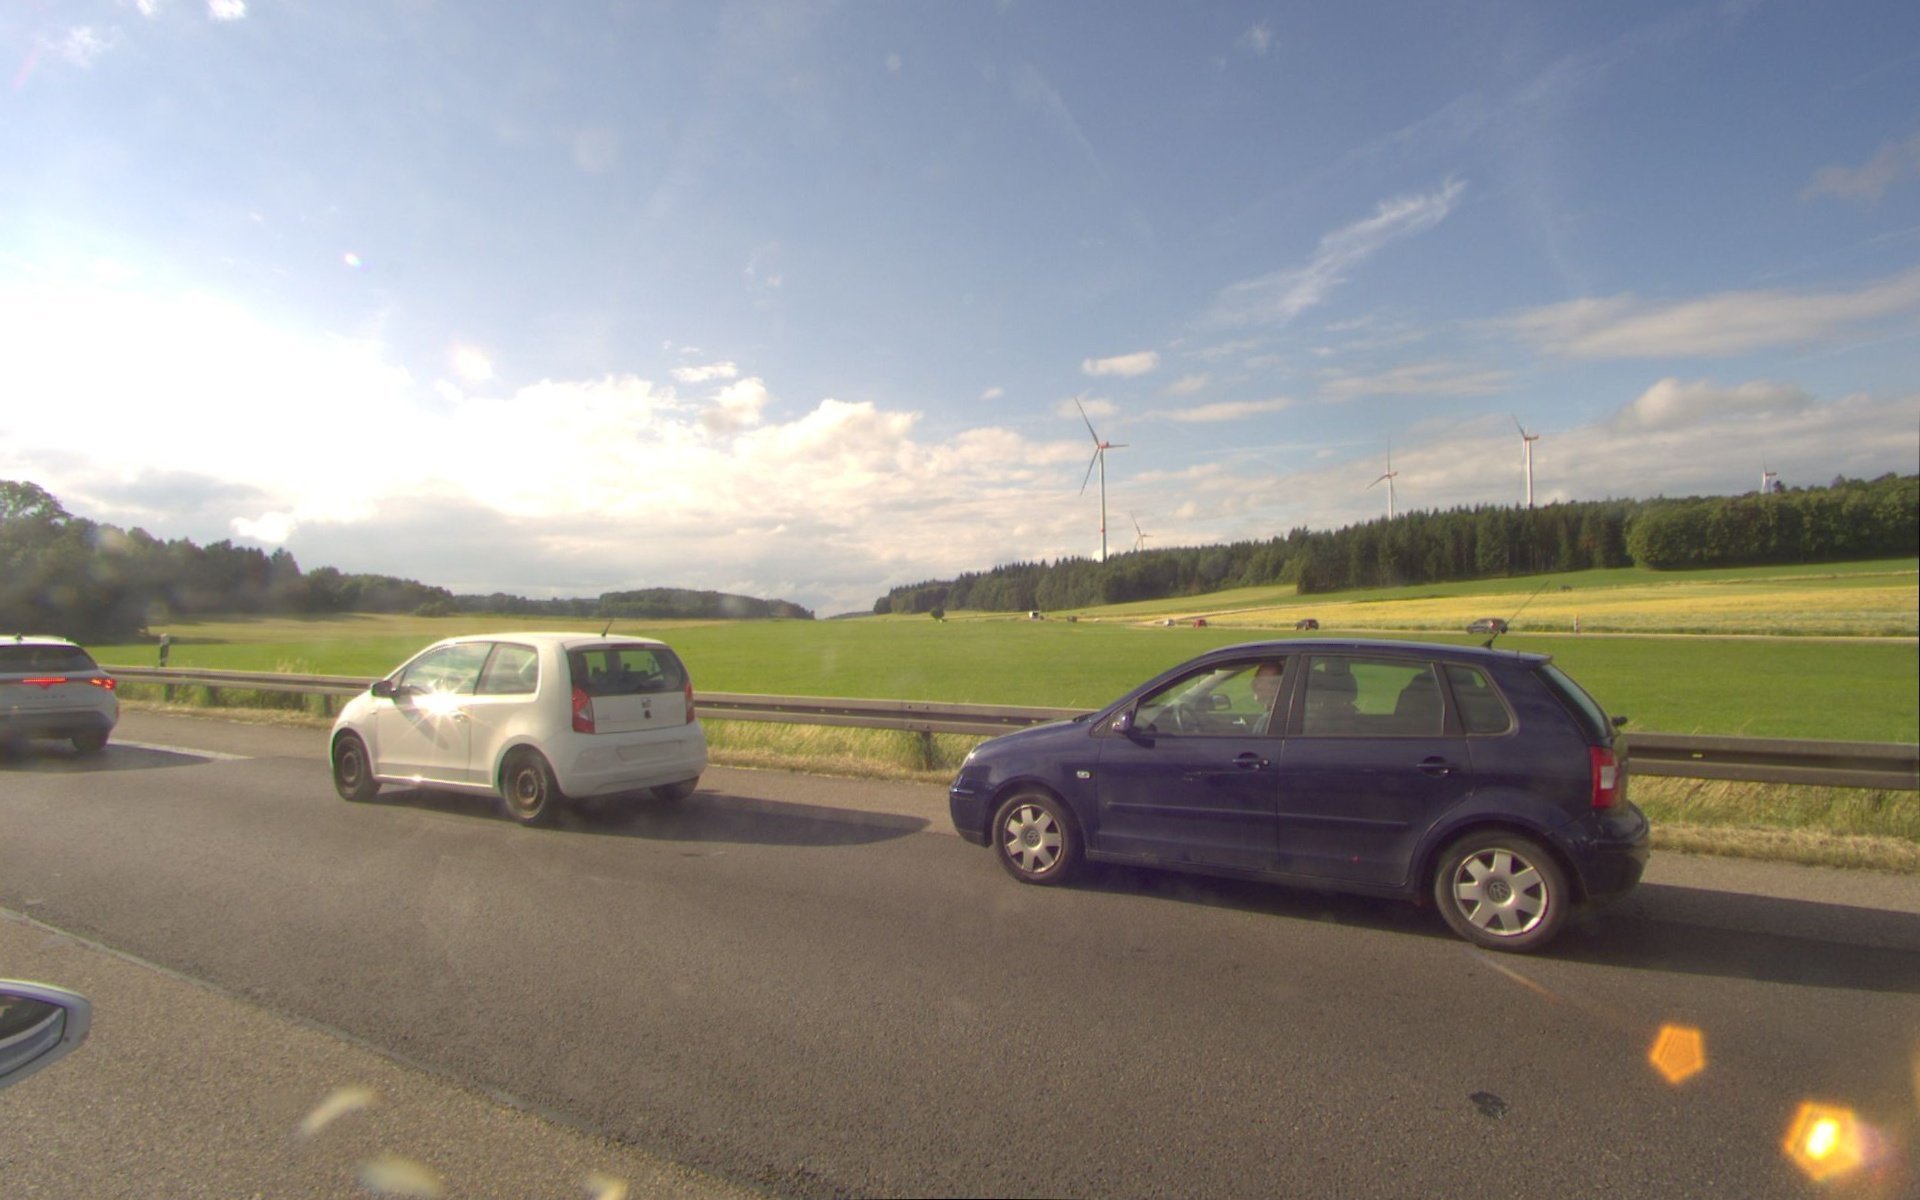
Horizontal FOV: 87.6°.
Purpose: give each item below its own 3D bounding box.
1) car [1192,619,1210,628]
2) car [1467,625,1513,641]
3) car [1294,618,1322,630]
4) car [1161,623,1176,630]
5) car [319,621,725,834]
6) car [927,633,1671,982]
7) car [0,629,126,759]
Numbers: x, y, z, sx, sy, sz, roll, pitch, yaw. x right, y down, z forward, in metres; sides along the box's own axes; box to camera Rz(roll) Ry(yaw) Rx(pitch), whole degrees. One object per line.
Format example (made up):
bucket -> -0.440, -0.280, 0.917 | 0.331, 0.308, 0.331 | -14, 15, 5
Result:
car -> 43.659, 4.292, 181.207 | 1.803, 1.505, 4.221 | 0, -2, -6
car -> 49.924, 3.136, 94.448 | 1.803, 1.505, 4.221 | 0, -2, -6
car -> 45.964, 3.167, 132.331 | 1.803, 1.505, 4.221 | 0, -2, -6
car -> 42.749, 5.438, 205.763 | 1.803, 1.505, 4.288 | 0, -2, -6
car -> -3.841, 0.958, 8.718 | 3.326, 1.514, 1.547 | 0, -1, 29
car -> 1.817, 0.936, 5.911 | 3.719, 1.464, 1.708 | -1, -2, 31
car -> -12.442, 1.117, 12.624 | 4.084, 1.464, 1.619 | -1, -2, 29
